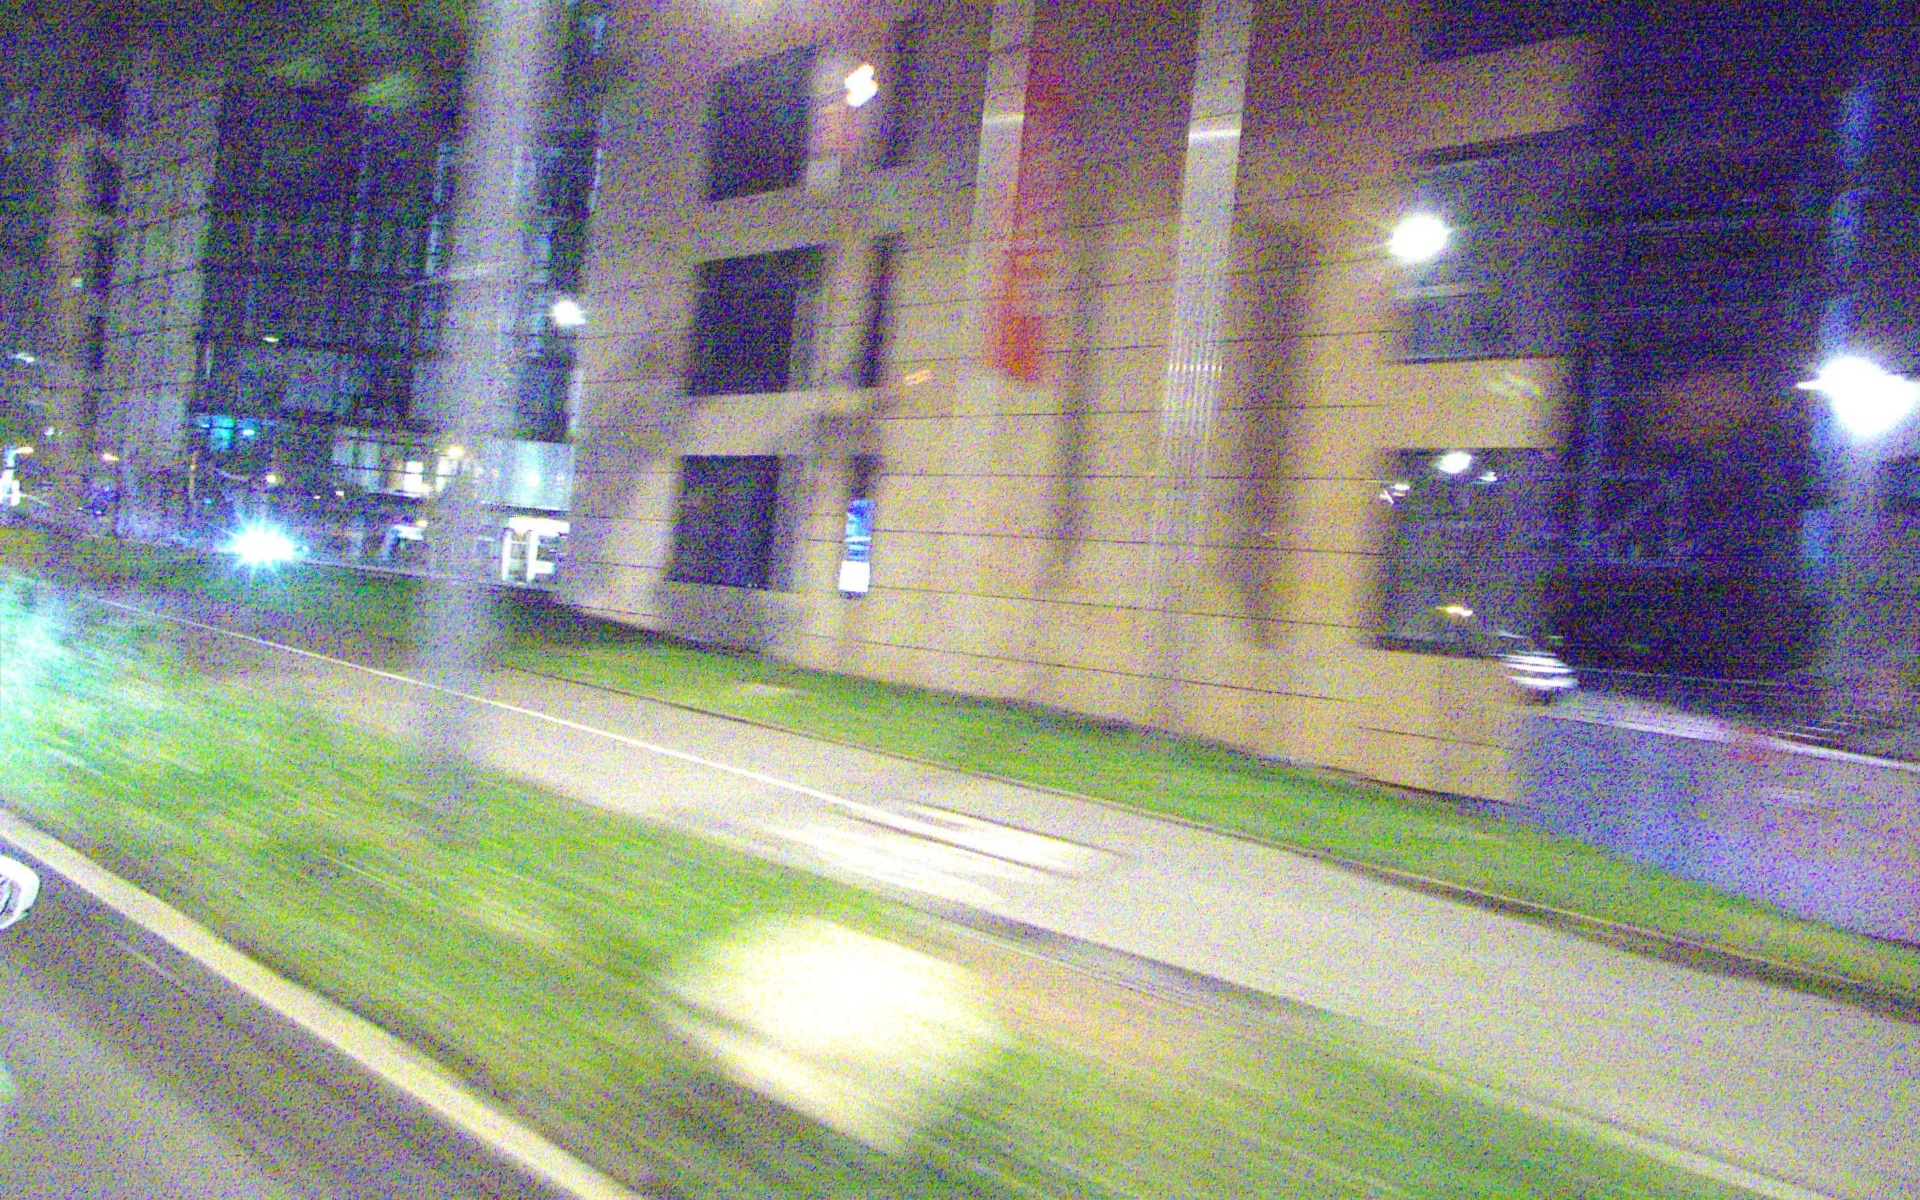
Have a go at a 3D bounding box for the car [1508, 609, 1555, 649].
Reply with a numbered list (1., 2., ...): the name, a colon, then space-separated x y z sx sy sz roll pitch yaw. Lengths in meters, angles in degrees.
1. car: 29.008 1.500 51.149 1.625 1.637 3.715 8 -1 26

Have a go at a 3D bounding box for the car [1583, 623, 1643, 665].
1. car: 31.946 2.181 49.295 1.820 1.702 3.715 8 -1 26

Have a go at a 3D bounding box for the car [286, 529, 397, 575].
1. car: -20.287 -1.541 33.116 1.276 1.098 3.174 8 -1 9

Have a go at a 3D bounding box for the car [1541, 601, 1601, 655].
1. car: 27.448 1.315 45.307 1.668 2.038 4.114 8 -1 26

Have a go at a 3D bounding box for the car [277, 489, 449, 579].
1. car: -16.418 -1.763 27.912 1.962 1.884 3.779 8 -1 9

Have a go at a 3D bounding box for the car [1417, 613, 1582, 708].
1. car: 14.250 1.535 26.851 1.604 1.685 3.982 3 8 -10
